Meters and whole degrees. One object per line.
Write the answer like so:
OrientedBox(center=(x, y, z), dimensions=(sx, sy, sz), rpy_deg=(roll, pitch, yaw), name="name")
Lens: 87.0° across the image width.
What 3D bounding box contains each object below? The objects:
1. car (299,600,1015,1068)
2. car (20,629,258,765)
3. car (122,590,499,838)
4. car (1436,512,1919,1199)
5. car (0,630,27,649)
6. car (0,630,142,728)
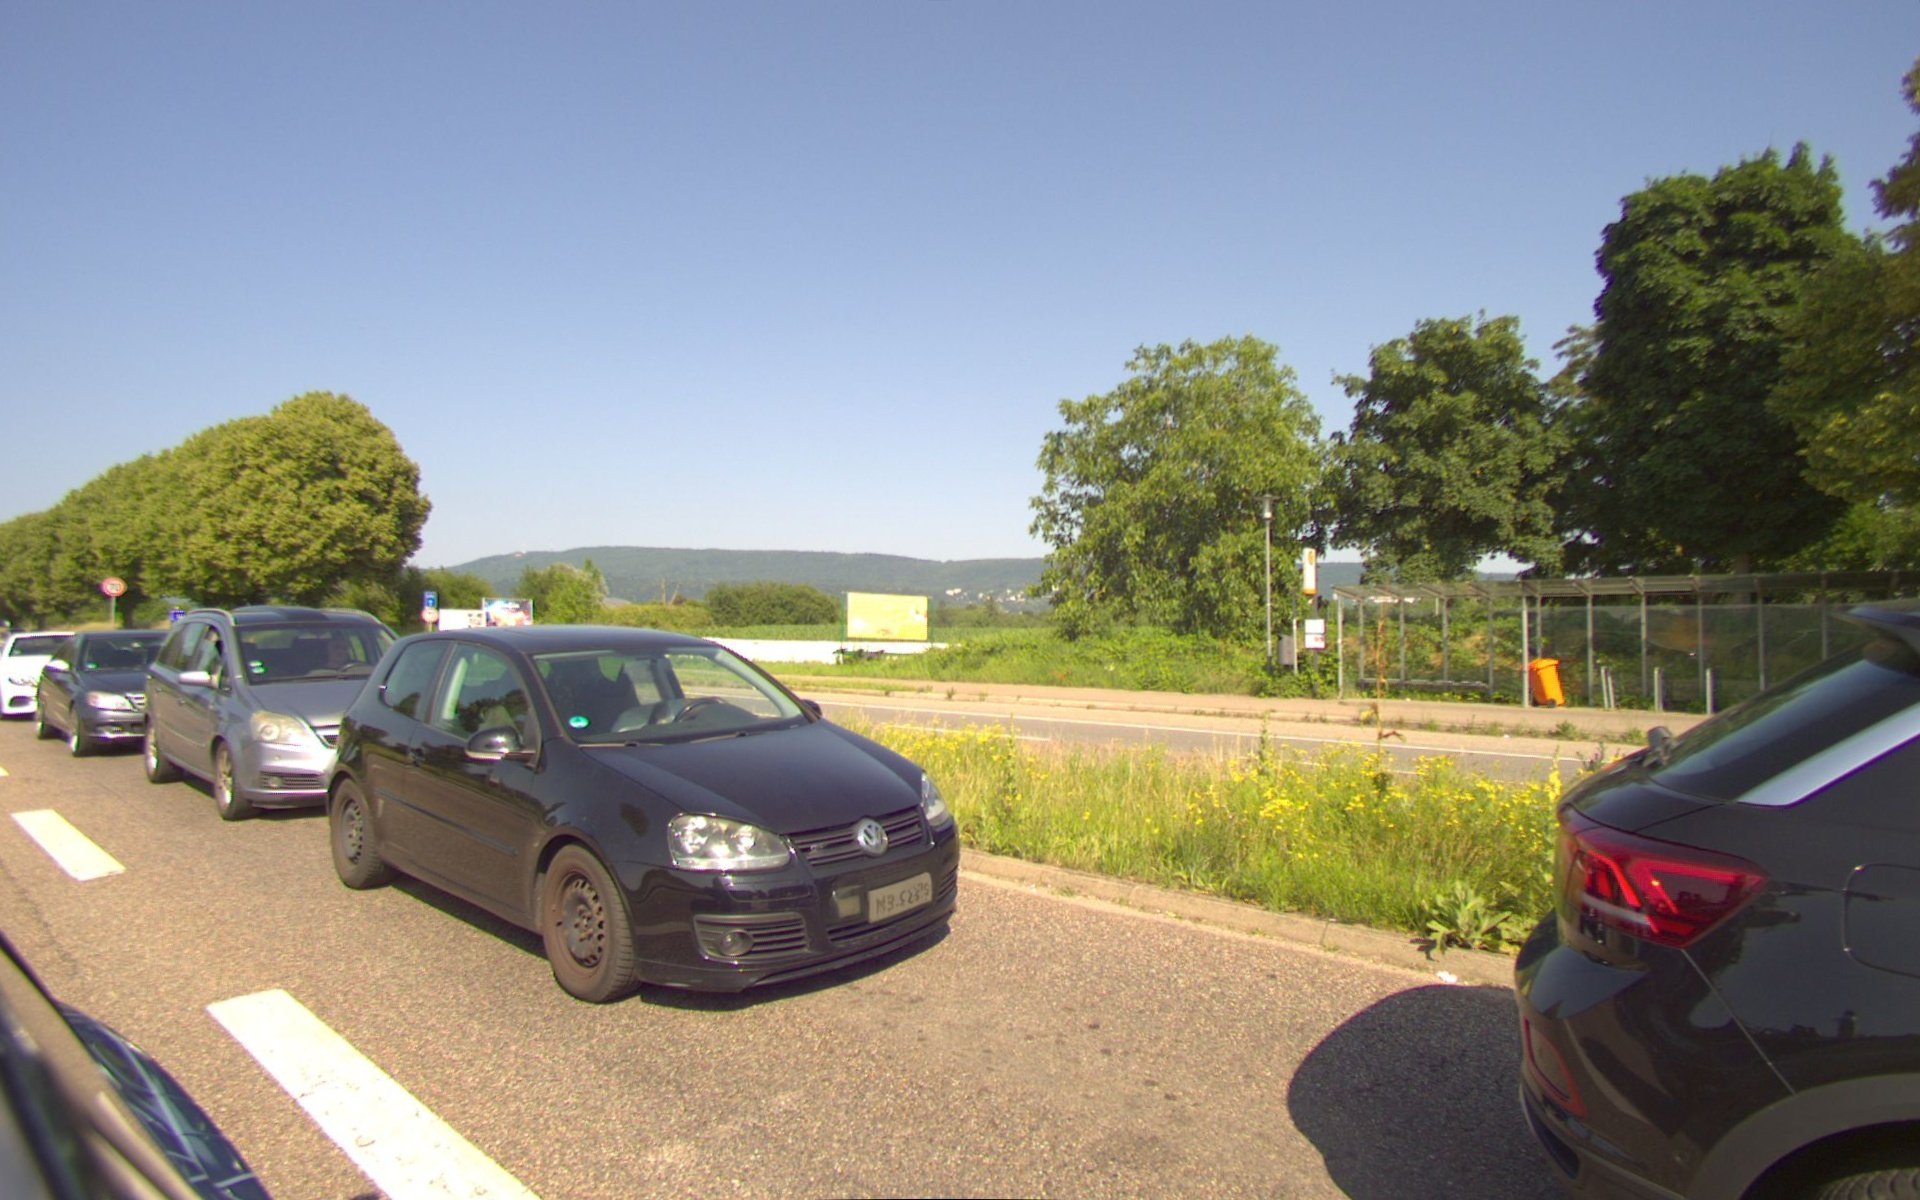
OrientedBox(center=(-1.831, 0.803, 5.223), dimensions=(4.096, 1.486, 1.648), rpy_deg=(-2, -2, 42), name="car")
OrientedBox(center=(-10.556, 1.103, 12.894), dimensions=(4.353, 1.421, 1.696), rpy_deg=(-2, -1, 42), name="car")
OrientedBox(center=(-5.915, 0.830, 8.979), dimensions=(4.355, 1.685, 1.723), rpy_deg=(-2, -1, 42), name="car")
OrientedBox(center=(2.959, 0.627, 1.093), dimensions=(4.096, 1.559, 1.710), rpy_deg=(-2, -2, 42), name="car")
OrientedBox(center=(-96.064, 3.999, 102.341), dimensions=(4.952, 1.854, 1.972), rpy_deg=(-2, -4, 42), name="car")
OrientedBox(center=(-15.713, 1.263, 17.442), dimensions=(4.639, 1.436, 1.784), rpy_deg=(-2, -1, 41), name="car")
